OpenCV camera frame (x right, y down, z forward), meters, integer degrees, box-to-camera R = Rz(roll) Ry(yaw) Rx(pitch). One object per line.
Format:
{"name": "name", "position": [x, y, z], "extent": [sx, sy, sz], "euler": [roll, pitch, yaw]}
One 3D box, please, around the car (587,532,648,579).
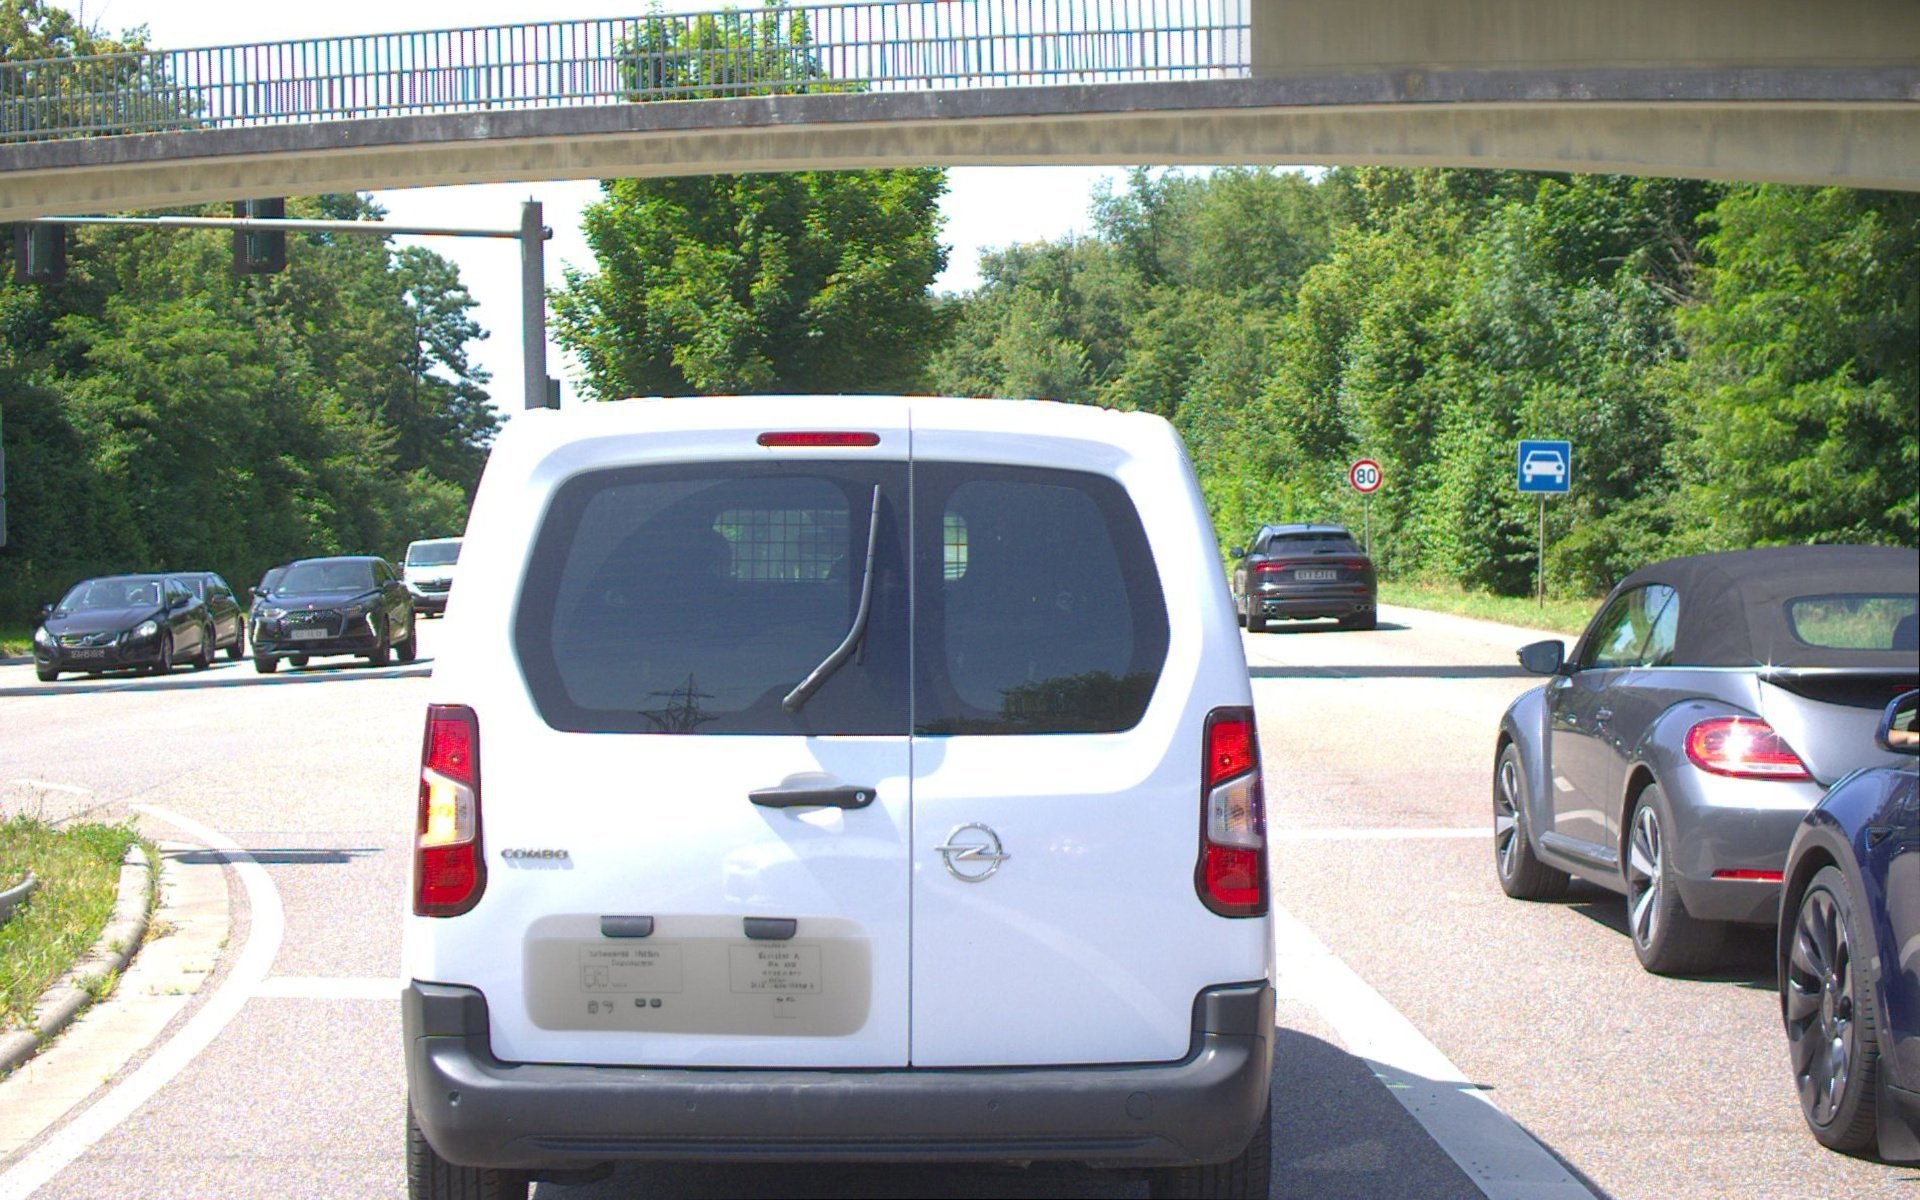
{"name": "car", "position": [-15.277, -1.995, 153.616], "extent": [2.208, 1.986, 4.734], "euler": [-2, 1, -1]}

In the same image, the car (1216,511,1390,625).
{"name": "car", "position": [5.327, -0.527, 54.049], "extent": [2.042, 1.693, 5.087], "euler": [-1, 1, -2]}

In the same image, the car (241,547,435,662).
{"name": "car", "position": [-8.545, 0.033, 47.548], "extent": [1.993, 1.518, 4.028], "euler": [0, 1, -1]}

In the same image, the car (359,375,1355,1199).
{"name": "car", "position": [-0.247, 0.439, 8.436], "extent": [1.849, 1.819, 3.982], "euler": [1, 2, -2]}

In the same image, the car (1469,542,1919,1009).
{"name": "car", "position": [3.198, 0.536, 12.982], "extent": [1.900, 1.472, 3.939], "euler": [1, 1, -1]}

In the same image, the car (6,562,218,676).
{"name": "car", "position": [-12.035, 0.241, 49.031], "extent": [2.008, 1.455, 4.055], "euler": [-2, 1, -1]}

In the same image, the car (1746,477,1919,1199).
{"name": "car", "position": [3.055, 0.576, 6.779], "extent": [1.900, 1.639, 4.520], "euler": [1, 1, -1]}

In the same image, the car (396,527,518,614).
{"name": "car", "position": [-12.428, -0.753, 85.304], "extent": [2.208, 1.986, 5.489], "euler": [-2, 1, -1]}
